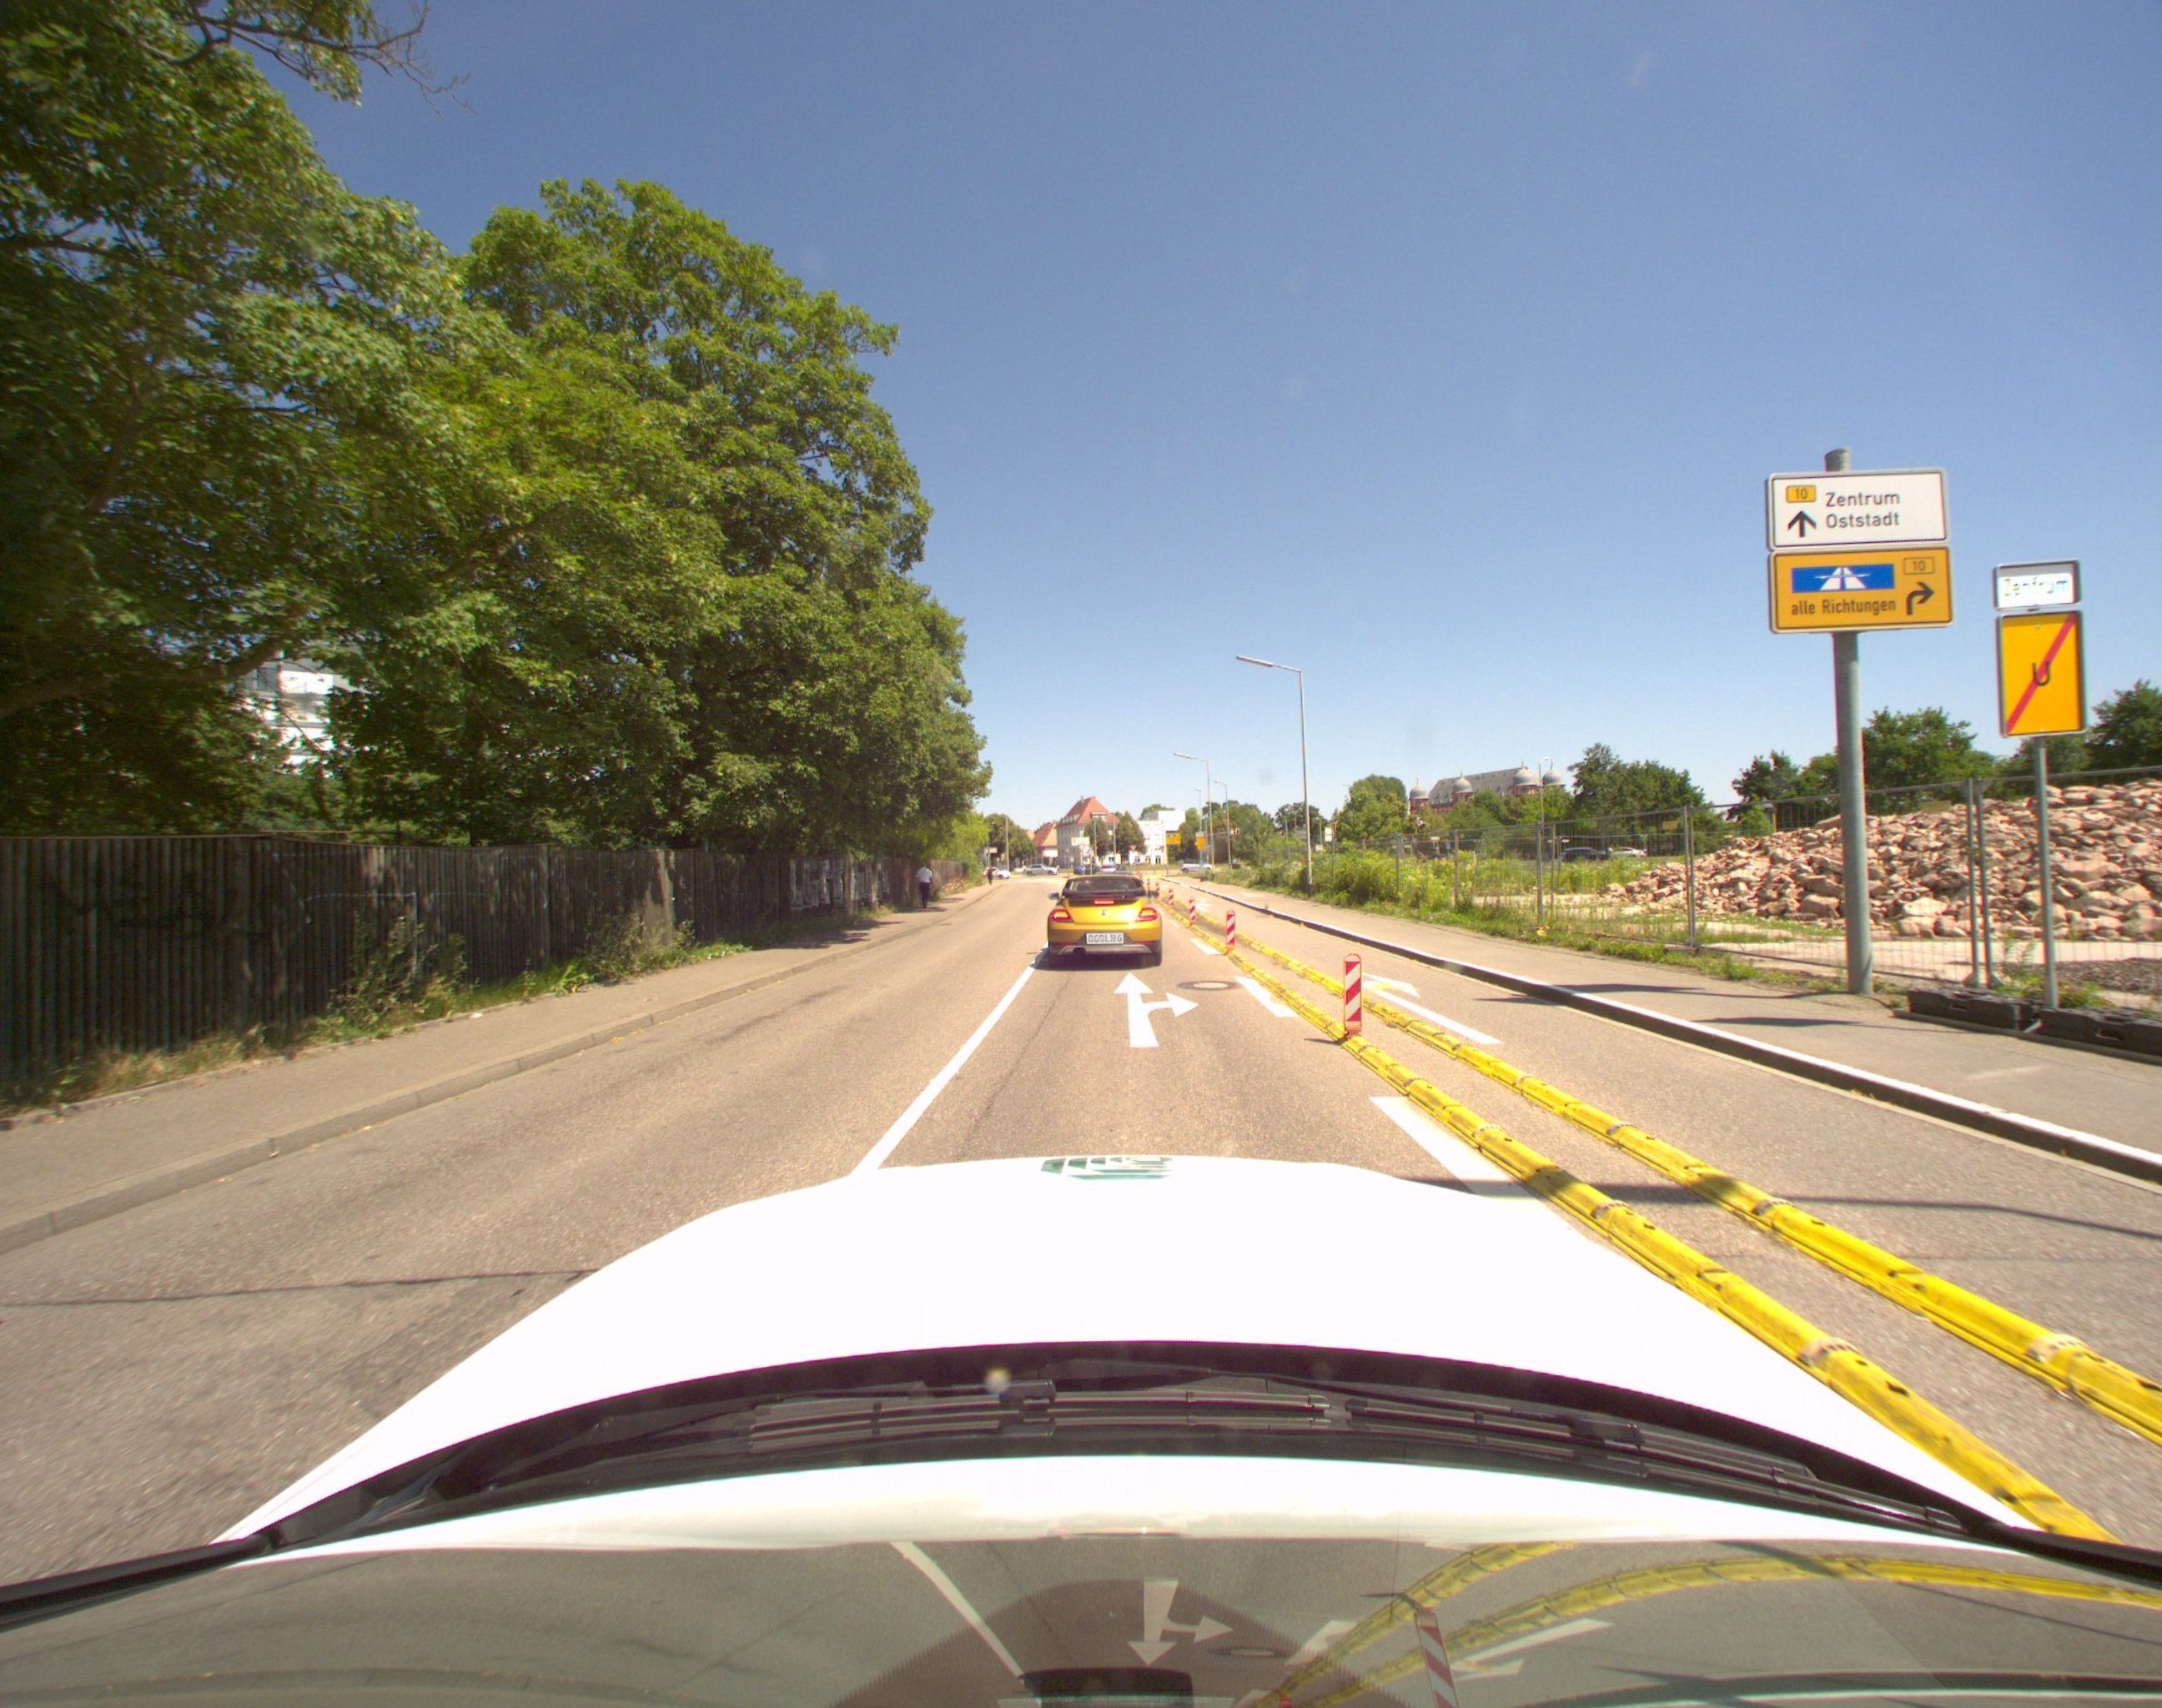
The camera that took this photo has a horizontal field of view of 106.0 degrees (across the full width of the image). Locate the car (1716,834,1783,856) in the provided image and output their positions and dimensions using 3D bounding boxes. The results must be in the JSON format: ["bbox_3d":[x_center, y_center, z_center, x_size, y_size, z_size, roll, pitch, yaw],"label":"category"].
[{"bbox_3d":[54.708,-0.729,66.697,1.852,1.618,4.009,-2,-1,-42],"label":"car"}]

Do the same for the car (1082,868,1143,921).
[{"bbox_3d":[1.001,1.229,25.835,1.720,1.443,4.002,-2,-1,2],"label":"car"}]

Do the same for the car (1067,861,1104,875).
[{"bbox_3d":[0.541,1.592,92.972,3.962,1.456,1.910,-3,-1,10],"label":"car"}]

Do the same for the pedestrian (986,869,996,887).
[{"bbox_3d":[-7.709,2.038,69.892,0.721,1.454,0.817,-2,-1,-3],"label":"pedestrian"}]

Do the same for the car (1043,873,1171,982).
[{"bbox_3d":[0.382,1.105,13.608,1.784,1.436,3.813,-2,-1,0],"label":"car"}]

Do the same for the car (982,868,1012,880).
[{"bbox_3d":[-10.225,2.414,99.066,3.416,1.275,1.205,-3,-1,10],"label":"car"}]

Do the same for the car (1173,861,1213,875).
[{"bbox_3d":[13.027,1.638,94.694,4.415,1.358,1.541,-3,-1,8],"label":"car"}]

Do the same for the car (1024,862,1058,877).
[{"bbox_3d":[-5.156,2.066,105.740,4.047,1.744,1.571,-3,-1,10],"label":"car"}]

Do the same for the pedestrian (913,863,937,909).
[{"bbox_3d":[-6.144,1.251,32.127,0.721,1.725,0.817,-2,-1,-3],"label":"pedestrian"}]

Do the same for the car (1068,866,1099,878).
[{"bbox_3d":[0.271,2.067,95.775,3.416,1.275,1.410,-2,-1,10],"label":"car"}]
